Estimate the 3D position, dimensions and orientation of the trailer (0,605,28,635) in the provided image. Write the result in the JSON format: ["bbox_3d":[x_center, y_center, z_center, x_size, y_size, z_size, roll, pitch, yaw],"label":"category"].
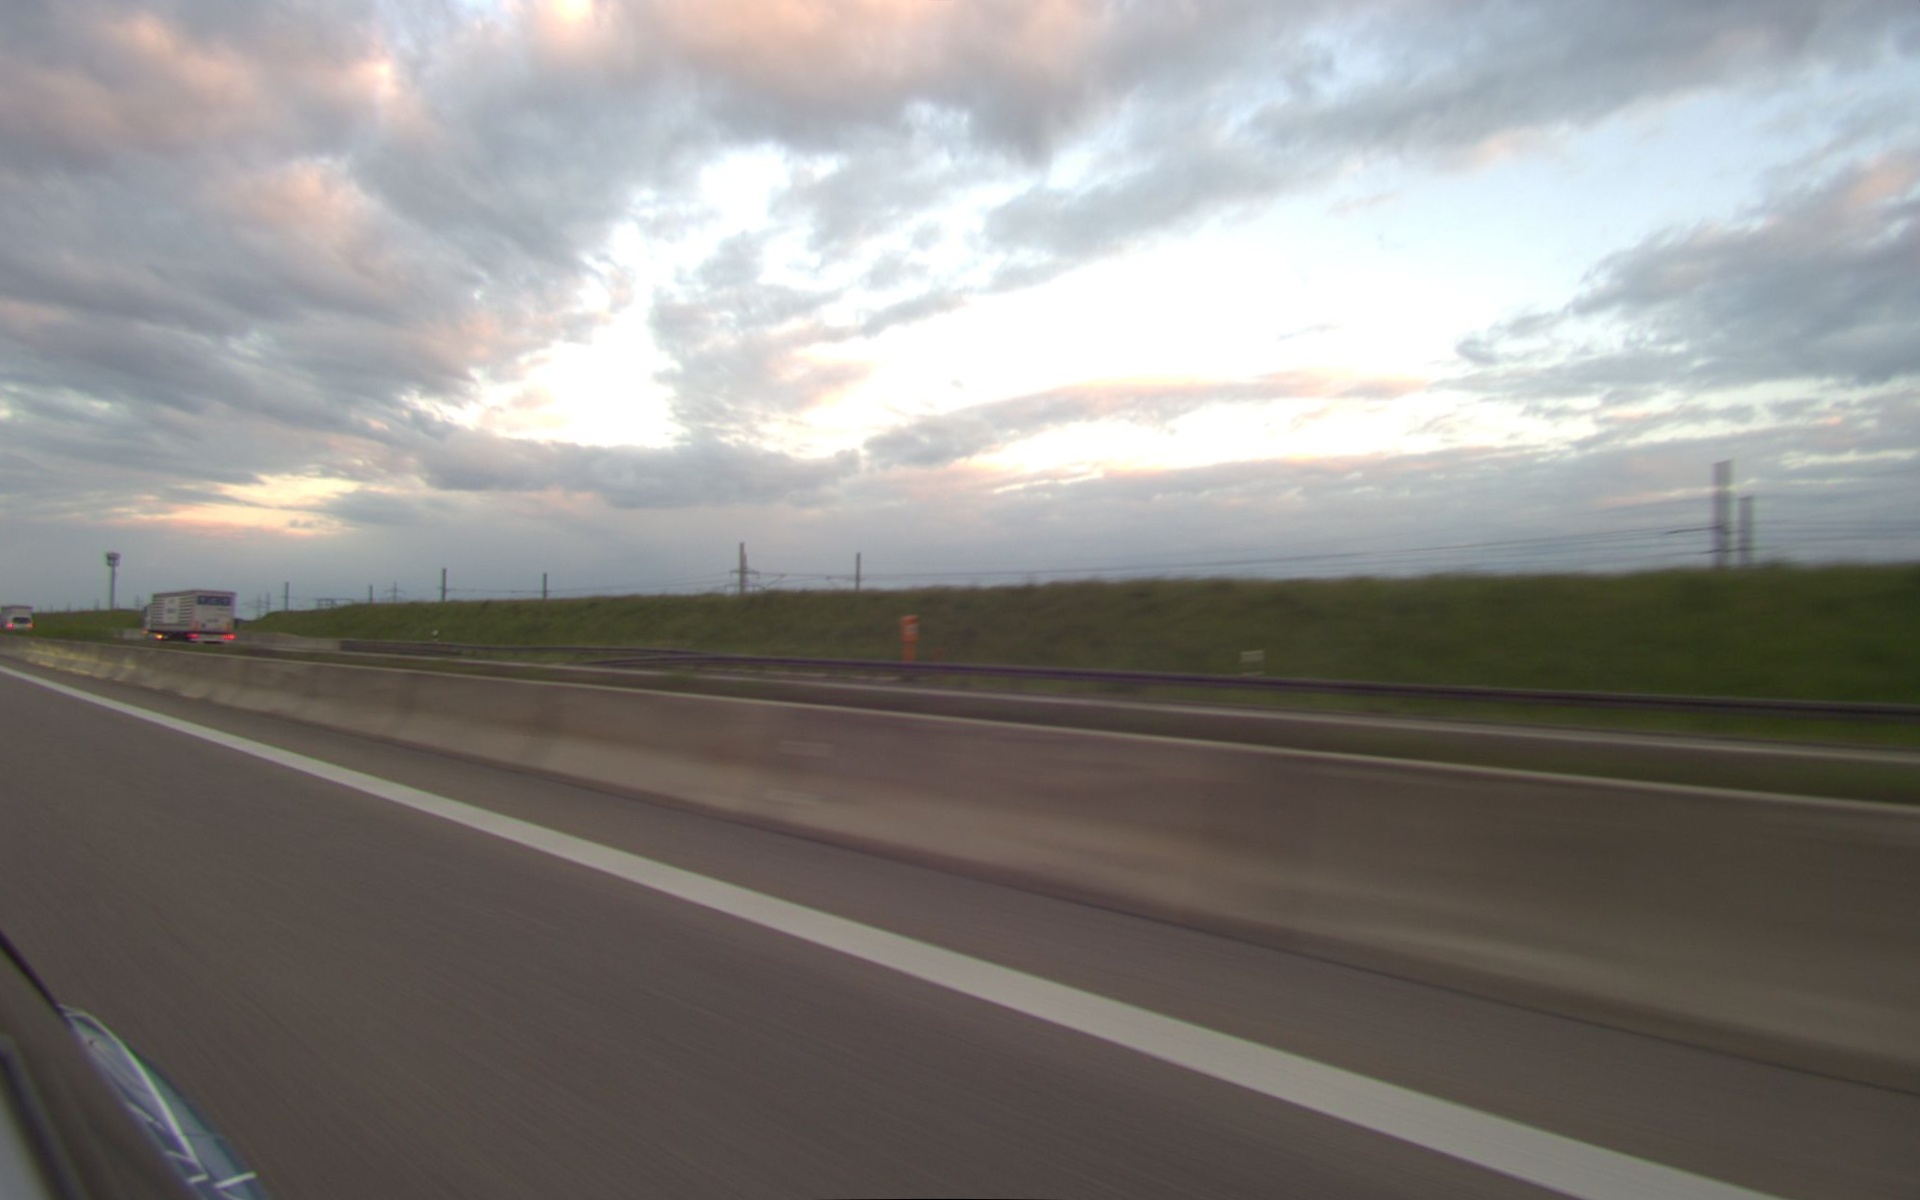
[{"bbox_3d":[-145.867,3.114,155.782,12.840,4.385,2.786,-2,-1,44],"label":"trailer"}]

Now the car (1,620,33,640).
[{"bbox_3d":[-111.000,3.523,119.123,6.491,2.362,2.105,-1,-3,42],"label":"car"}]

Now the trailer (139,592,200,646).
[{"bbox_3d":[-64.588,1.576,82.606,6.937,4.146,2.657,-1,-4,42],"label":"trailer"}]

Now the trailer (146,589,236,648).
[{"bbox_3d":[-58.965,1.461,77.407,15.107,4.146,2.657,-1,-4,43],"label":"trailer"}]
